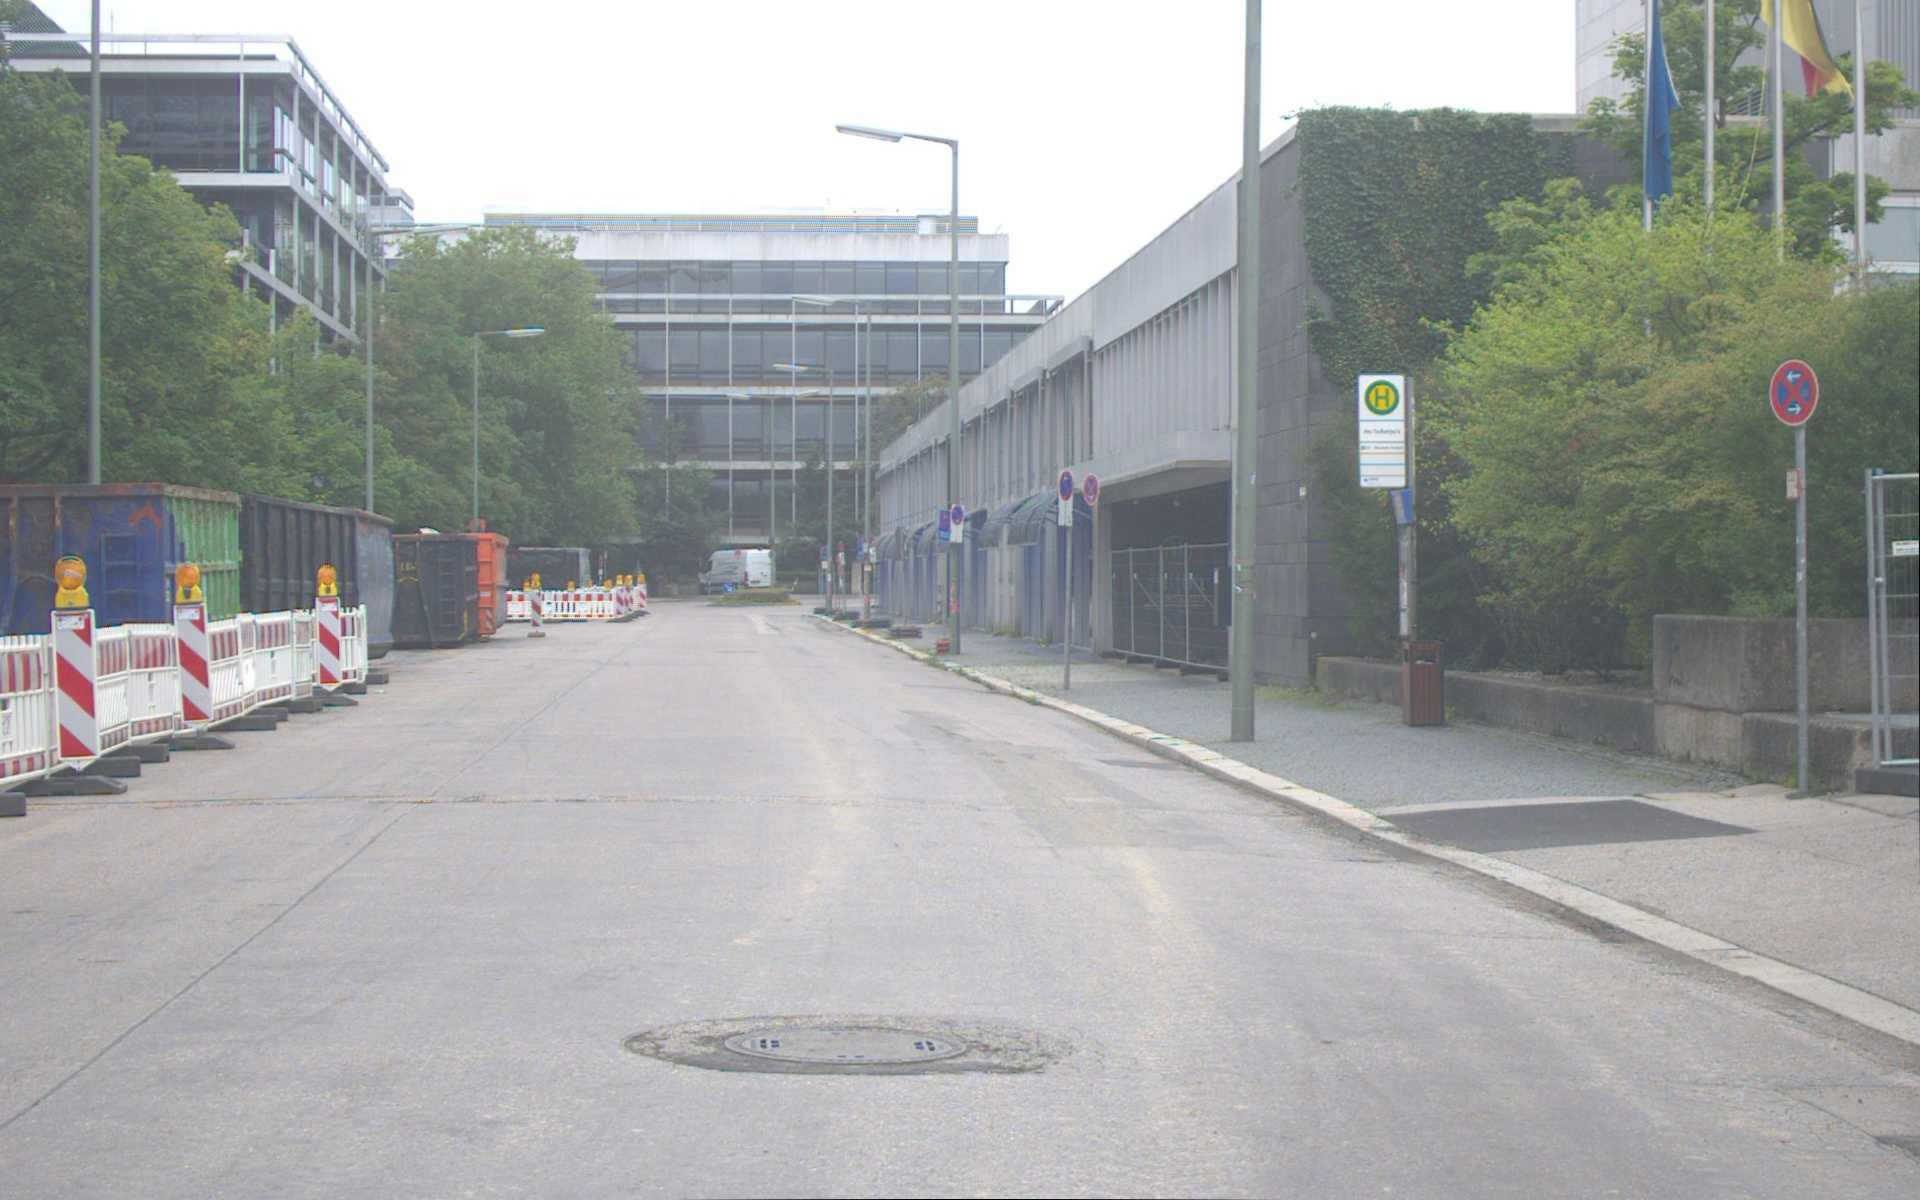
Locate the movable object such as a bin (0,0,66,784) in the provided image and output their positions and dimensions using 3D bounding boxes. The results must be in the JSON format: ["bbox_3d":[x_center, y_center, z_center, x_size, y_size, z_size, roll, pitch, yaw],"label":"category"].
[{"bbox_3d":[-8.383,-1.888,22.466,2.904,6.542,11.786,0,0,-5],"label":"movable object such as a bin"}]

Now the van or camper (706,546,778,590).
[{"bbox_3d":[-12.411,-1.841,195.826,2.085,2.483,5.068,0,1,-29],"label":"van or camper"}]
